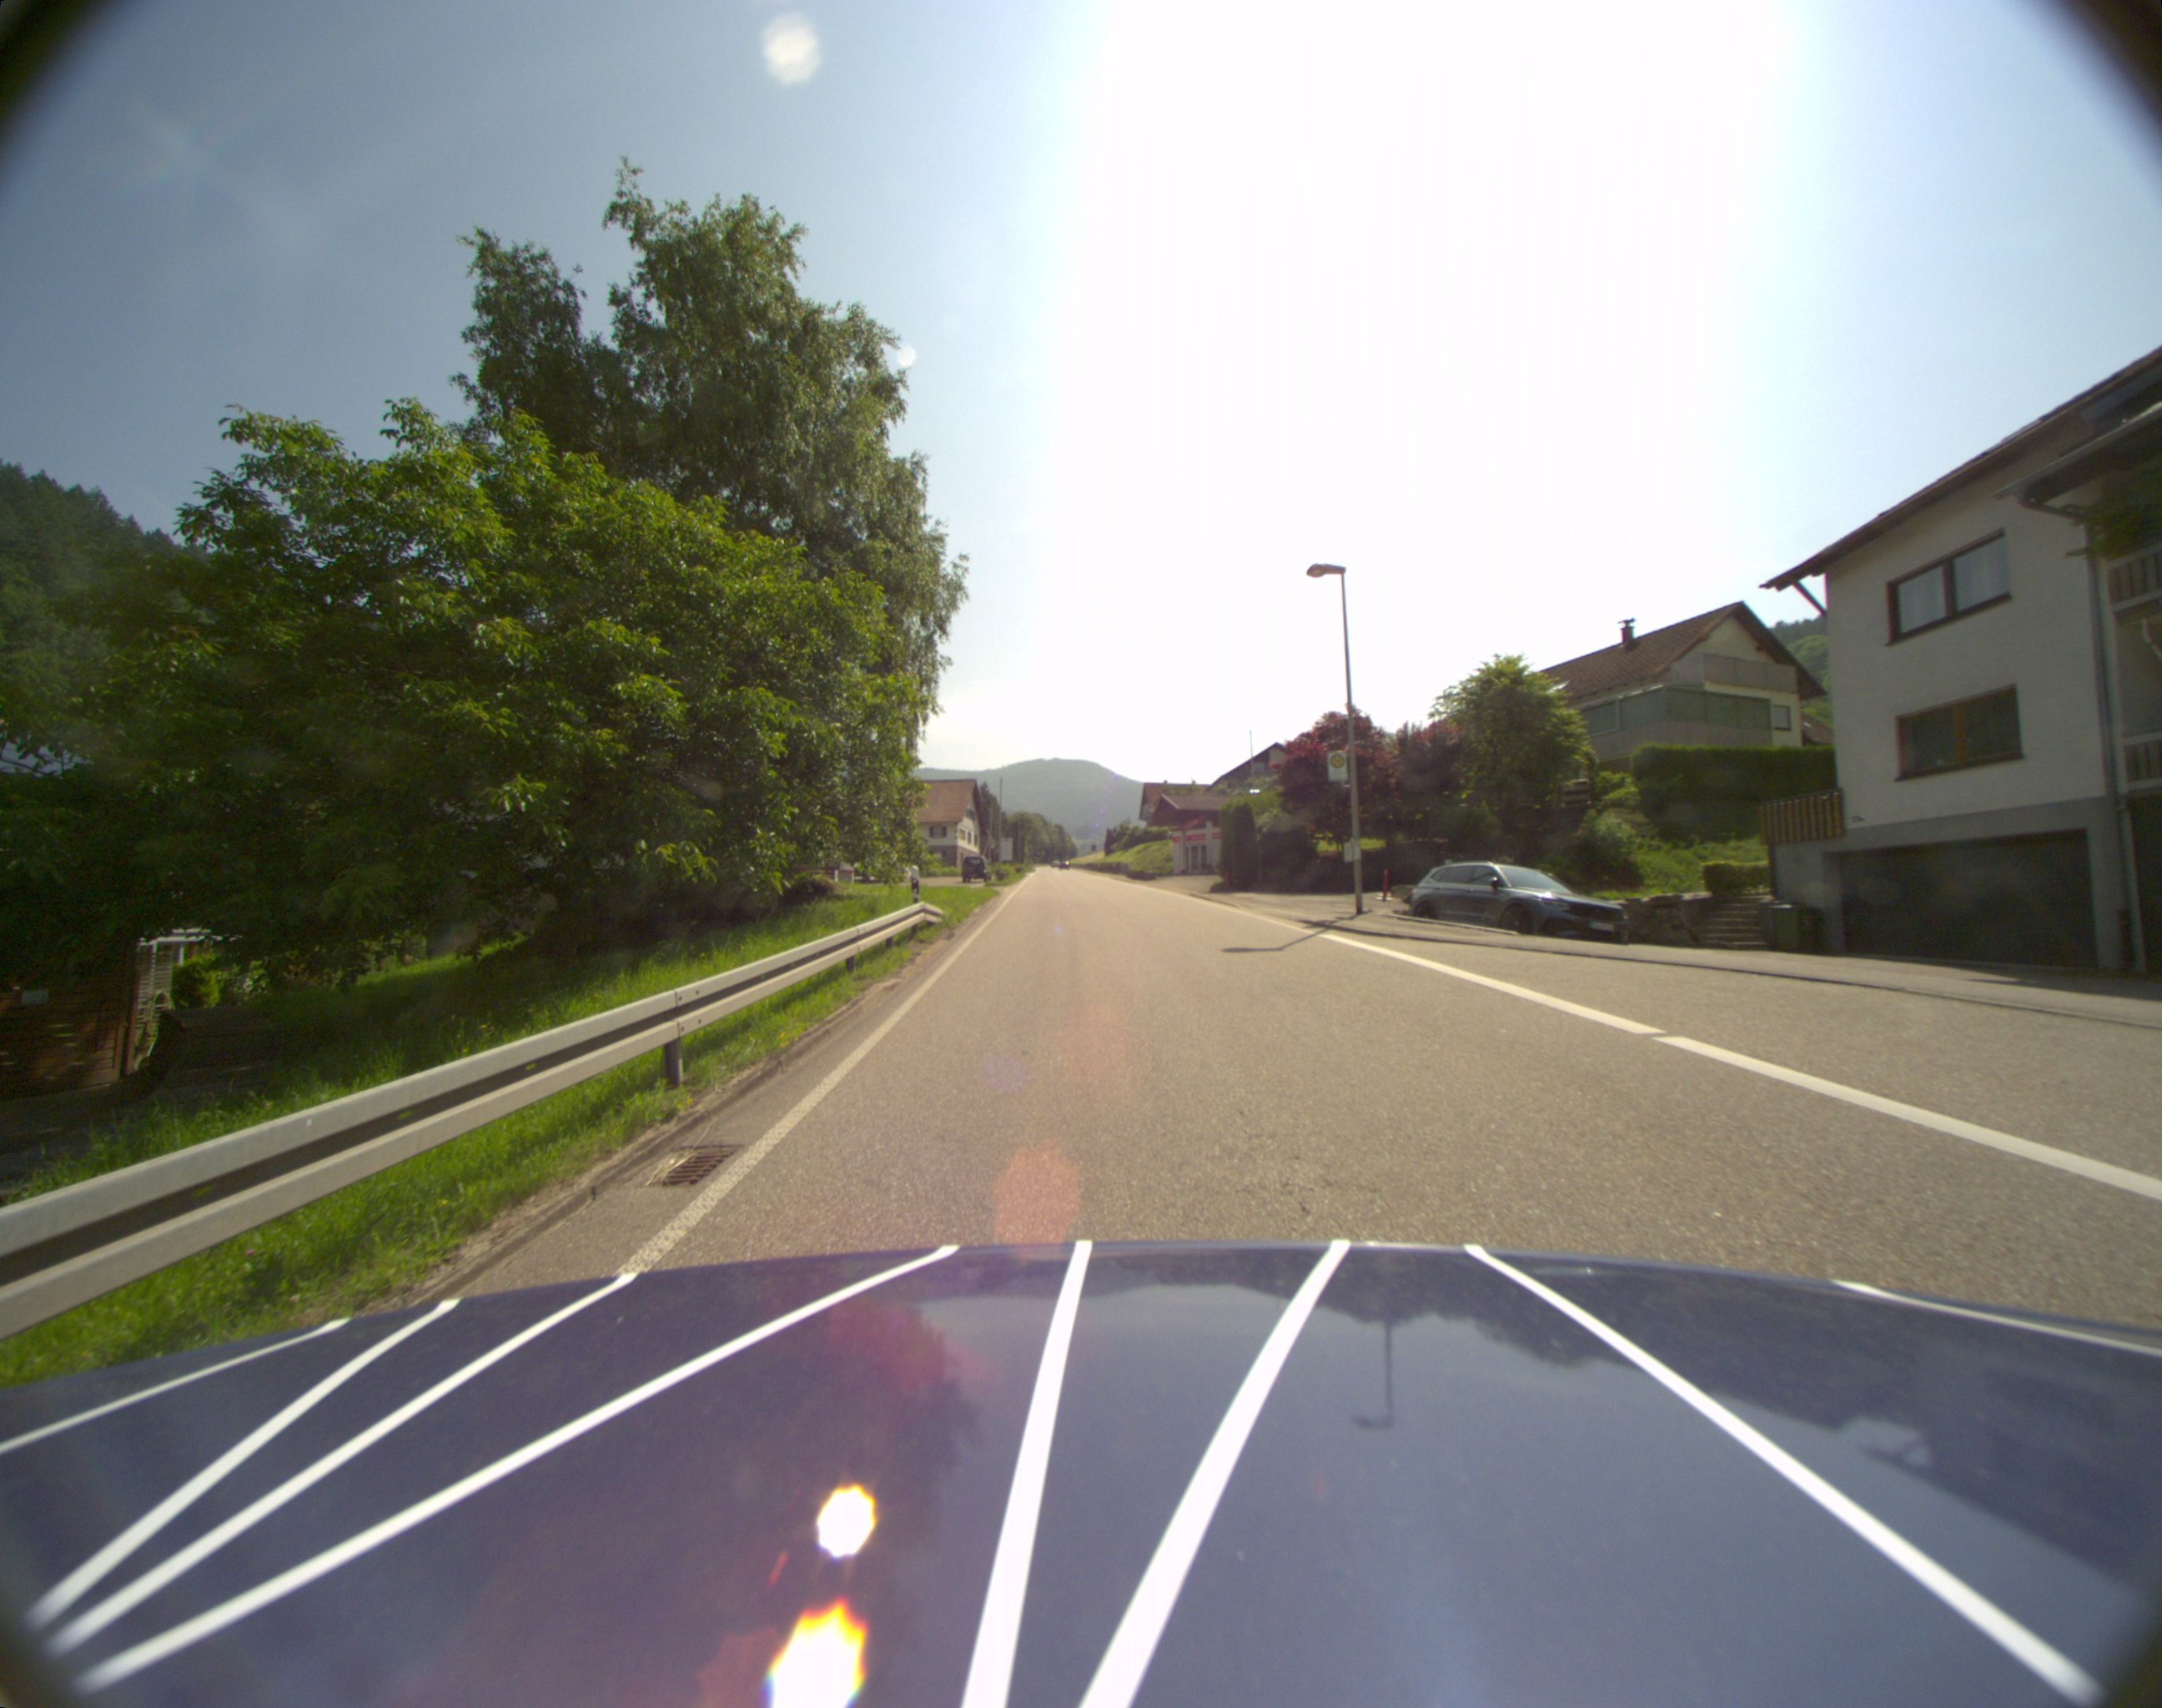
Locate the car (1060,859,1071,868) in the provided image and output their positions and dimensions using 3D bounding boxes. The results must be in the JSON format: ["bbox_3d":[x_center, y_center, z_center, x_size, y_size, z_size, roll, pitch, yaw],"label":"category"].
[{"bbox_3d":[-2.812,1.730,139.875,1.816,1.500,4.261,-1,0,-4],"label":"car"}]

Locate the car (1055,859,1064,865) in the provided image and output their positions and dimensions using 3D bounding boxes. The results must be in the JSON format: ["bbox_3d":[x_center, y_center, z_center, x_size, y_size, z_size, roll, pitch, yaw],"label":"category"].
[{"bbox_3d":[-5.060,1.943,180.900,1.816,1.500,4.261,-1,0,-5],"label":"car"}]

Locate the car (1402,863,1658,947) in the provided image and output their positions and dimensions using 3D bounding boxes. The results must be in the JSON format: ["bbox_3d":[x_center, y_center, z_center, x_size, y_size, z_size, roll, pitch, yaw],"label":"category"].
[{"bbox_3d":[8.348,0.854,14.755,1.787,1.331,4.693,0,0,-7],"label":"car"}]

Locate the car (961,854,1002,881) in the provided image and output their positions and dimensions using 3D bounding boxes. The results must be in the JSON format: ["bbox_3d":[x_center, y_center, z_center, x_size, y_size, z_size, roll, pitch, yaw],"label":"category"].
[{"bbox_3d":[-6.824,0.910,52.587,1.812,1.802,4.665,1,0,5],"label":"car"}]
